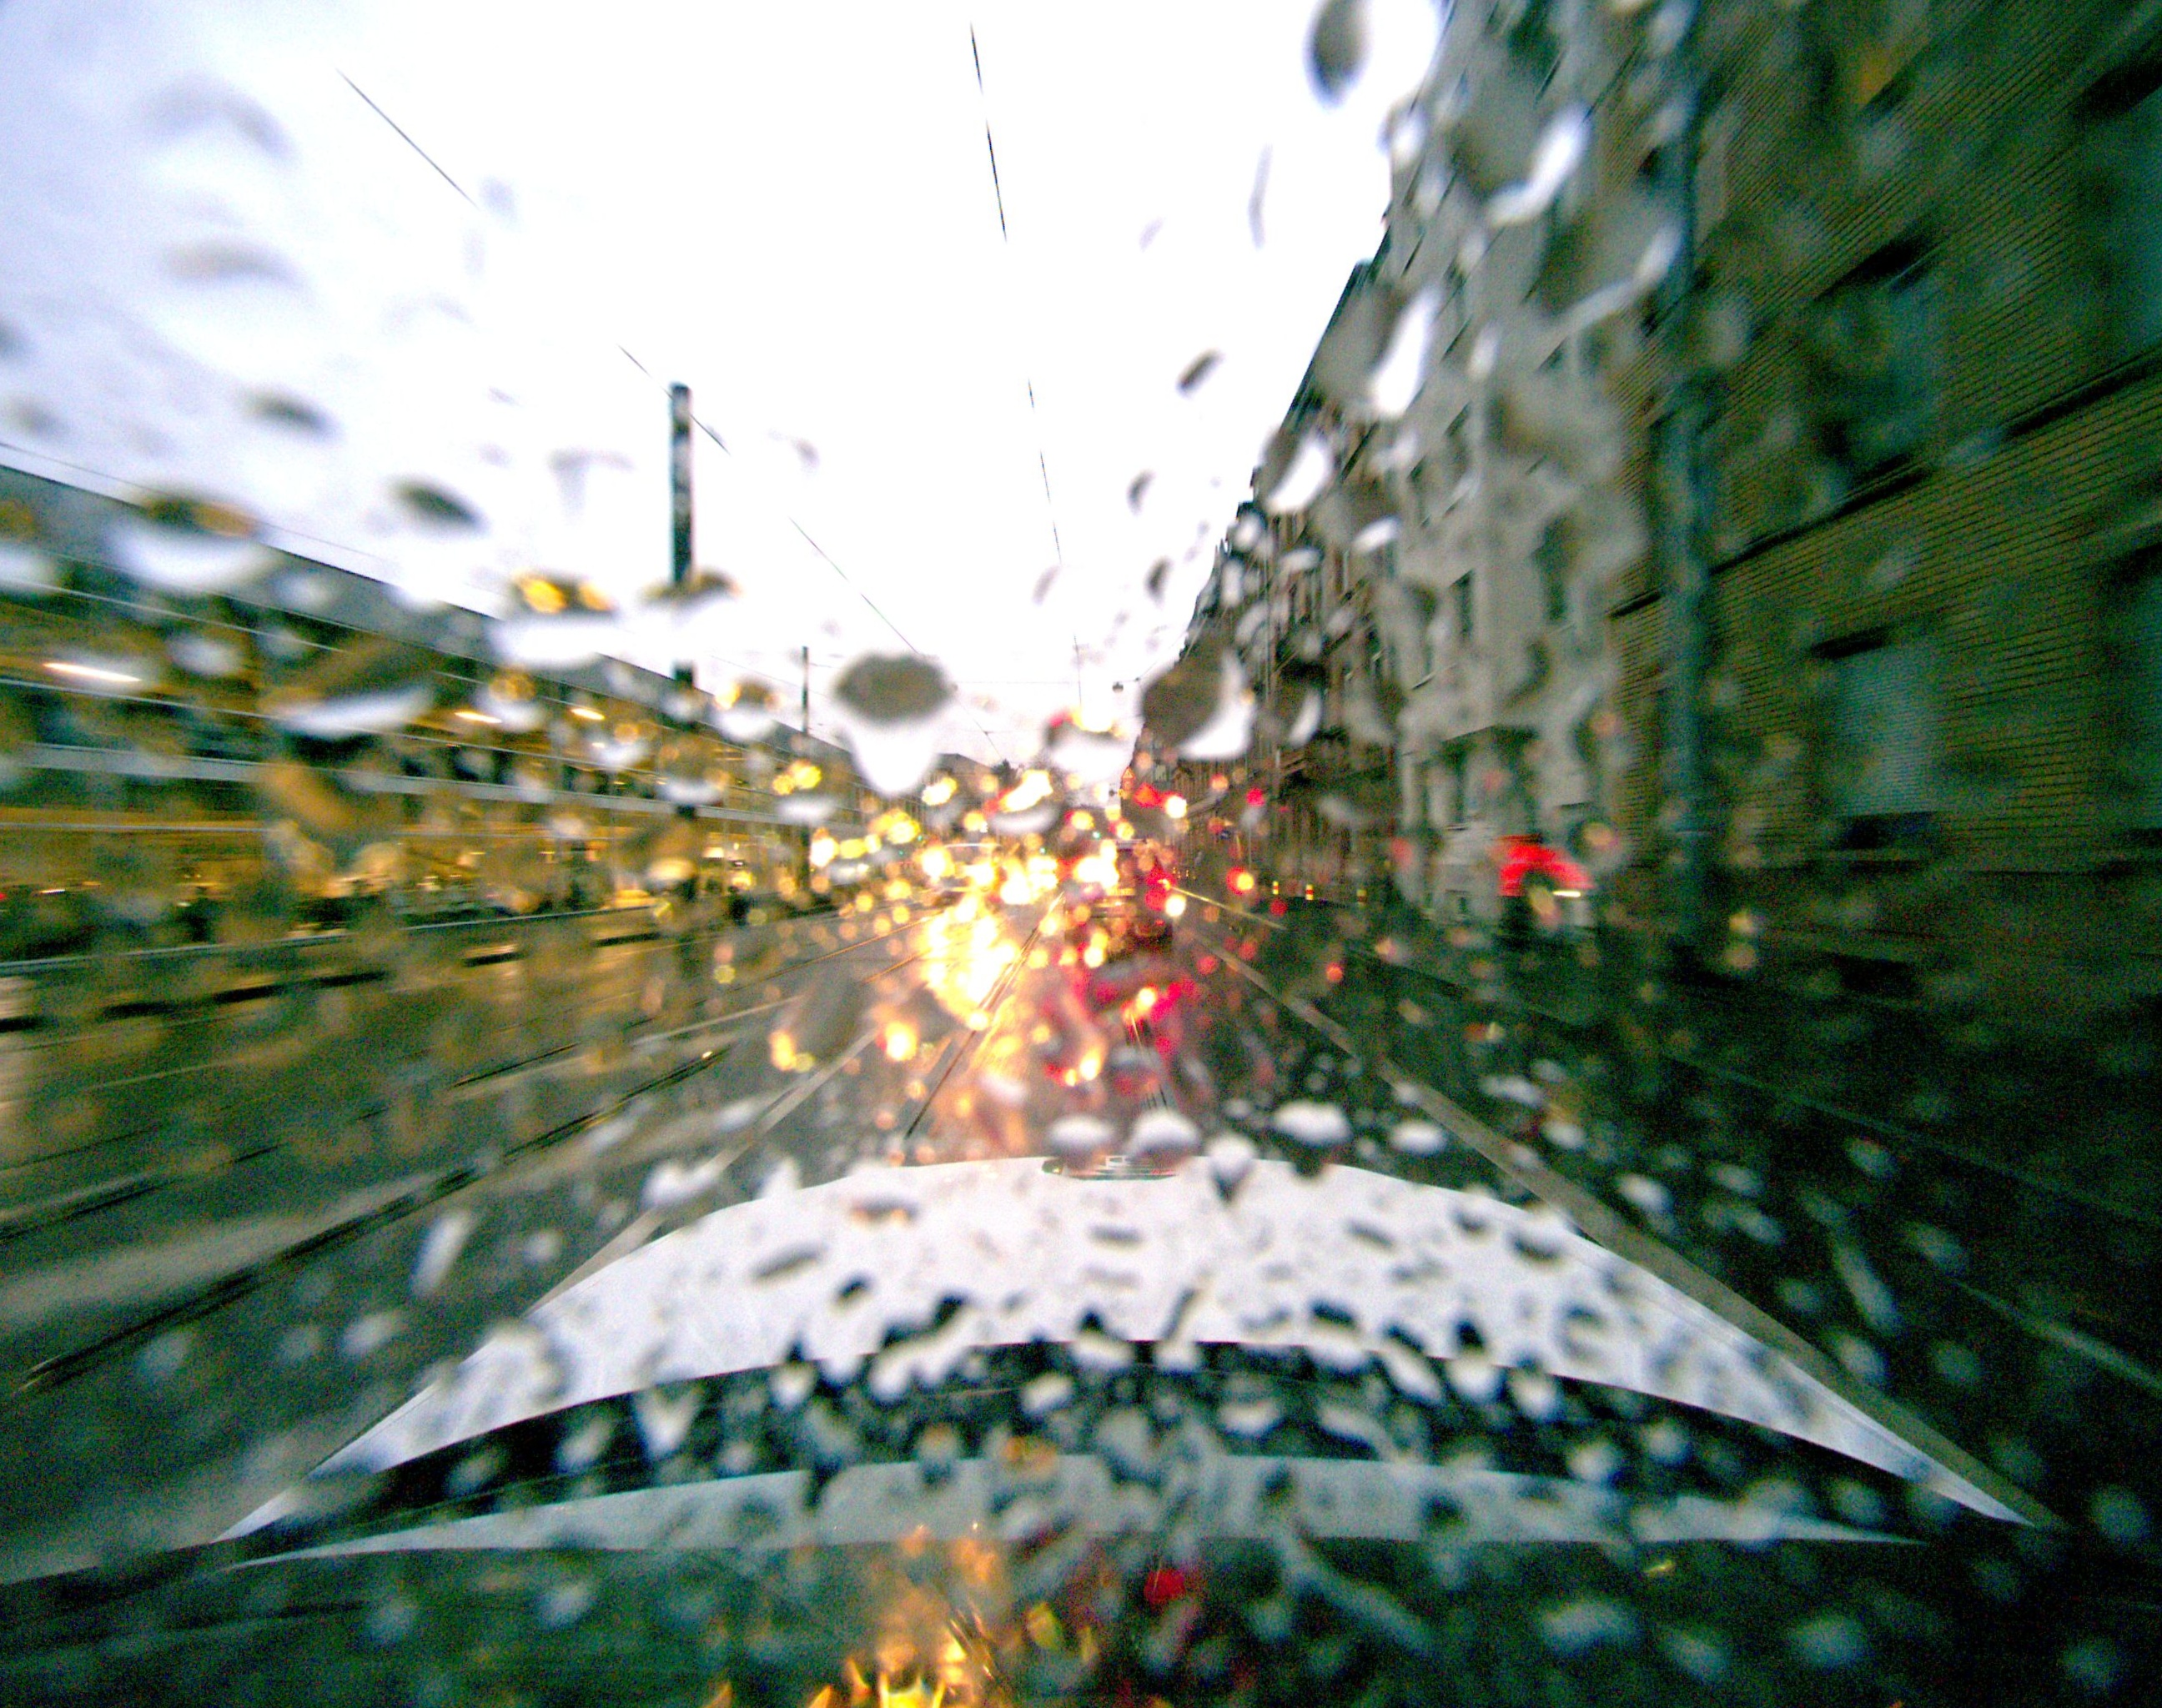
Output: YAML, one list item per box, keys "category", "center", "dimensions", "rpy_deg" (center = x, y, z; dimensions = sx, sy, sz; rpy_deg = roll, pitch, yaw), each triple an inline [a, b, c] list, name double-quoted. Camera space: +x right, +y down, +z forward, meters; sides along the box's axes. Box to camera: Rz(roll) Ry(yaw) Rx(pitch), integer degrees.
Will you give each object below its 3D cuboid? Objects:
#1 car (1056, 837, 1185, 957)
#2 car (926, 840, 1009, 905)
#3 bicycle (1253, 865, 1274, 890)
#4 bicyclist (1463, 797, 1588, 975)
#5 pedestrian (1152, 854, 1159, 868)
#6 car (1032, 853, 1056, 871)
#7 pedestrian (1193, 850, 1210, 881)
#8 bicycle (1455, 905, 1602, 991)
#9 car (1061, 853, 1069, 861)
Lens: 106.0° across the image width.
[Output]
- category: "car"
  center: [0.733, 0.681, 14.740]
  dimensions: [1.985, 1.842, 4.003]
  rpy_deg: [-1, 0, 3]
- category: "car"
  center: [-3.724, 0.588, 27.541]
  dimensions: [1.986, 2.014, 4.686]
  rpy_deg: [0, -1, 2]
- category: "bicycle"
  center: [6.970, 0.877, 31.165]
  dimensions: [0.396, 0.911, 1.866]
  rpy_deg: [-1, 0, 0]
- category: "bicyclist"
  center: [5.010, 0.345, 9.261]
  dimensions: [0.743, 1.880, 1.111]
  rpy_deg: [-1, -1, -2]
- category: "pedestrian"
  center: [7.158, 0.661, 78.379]
  dimensions: [0.598, 1.377, 0.728]
  rpy_deg: [0, -1, 0]
- category: "car"
  center: [-3.390, 0.764, 75.437]
  dimensions: [1.834, 1.578, 4.444]
  rpy_deg: [-1, 0, 2]
- category: "pedestrian"
  center: [6.458, 0.611, 43.801]
  dimensions: [0.783, 1.597, 0.742]
  rpy_deg: [-1, 0, 1]
- category: "bicycle"
  center: [5.001, 1.019, 9.257]
  dimensions: [0.606, 0.761, 1.860]
  rpy_deg: [-1, 0, -1]
- category: "car"
  center: [-3.703, 0.682, 188.527]
  dimensions: [1.869, 1.710, 4.759]
  rpy_deg: [-2, 0, 0]
